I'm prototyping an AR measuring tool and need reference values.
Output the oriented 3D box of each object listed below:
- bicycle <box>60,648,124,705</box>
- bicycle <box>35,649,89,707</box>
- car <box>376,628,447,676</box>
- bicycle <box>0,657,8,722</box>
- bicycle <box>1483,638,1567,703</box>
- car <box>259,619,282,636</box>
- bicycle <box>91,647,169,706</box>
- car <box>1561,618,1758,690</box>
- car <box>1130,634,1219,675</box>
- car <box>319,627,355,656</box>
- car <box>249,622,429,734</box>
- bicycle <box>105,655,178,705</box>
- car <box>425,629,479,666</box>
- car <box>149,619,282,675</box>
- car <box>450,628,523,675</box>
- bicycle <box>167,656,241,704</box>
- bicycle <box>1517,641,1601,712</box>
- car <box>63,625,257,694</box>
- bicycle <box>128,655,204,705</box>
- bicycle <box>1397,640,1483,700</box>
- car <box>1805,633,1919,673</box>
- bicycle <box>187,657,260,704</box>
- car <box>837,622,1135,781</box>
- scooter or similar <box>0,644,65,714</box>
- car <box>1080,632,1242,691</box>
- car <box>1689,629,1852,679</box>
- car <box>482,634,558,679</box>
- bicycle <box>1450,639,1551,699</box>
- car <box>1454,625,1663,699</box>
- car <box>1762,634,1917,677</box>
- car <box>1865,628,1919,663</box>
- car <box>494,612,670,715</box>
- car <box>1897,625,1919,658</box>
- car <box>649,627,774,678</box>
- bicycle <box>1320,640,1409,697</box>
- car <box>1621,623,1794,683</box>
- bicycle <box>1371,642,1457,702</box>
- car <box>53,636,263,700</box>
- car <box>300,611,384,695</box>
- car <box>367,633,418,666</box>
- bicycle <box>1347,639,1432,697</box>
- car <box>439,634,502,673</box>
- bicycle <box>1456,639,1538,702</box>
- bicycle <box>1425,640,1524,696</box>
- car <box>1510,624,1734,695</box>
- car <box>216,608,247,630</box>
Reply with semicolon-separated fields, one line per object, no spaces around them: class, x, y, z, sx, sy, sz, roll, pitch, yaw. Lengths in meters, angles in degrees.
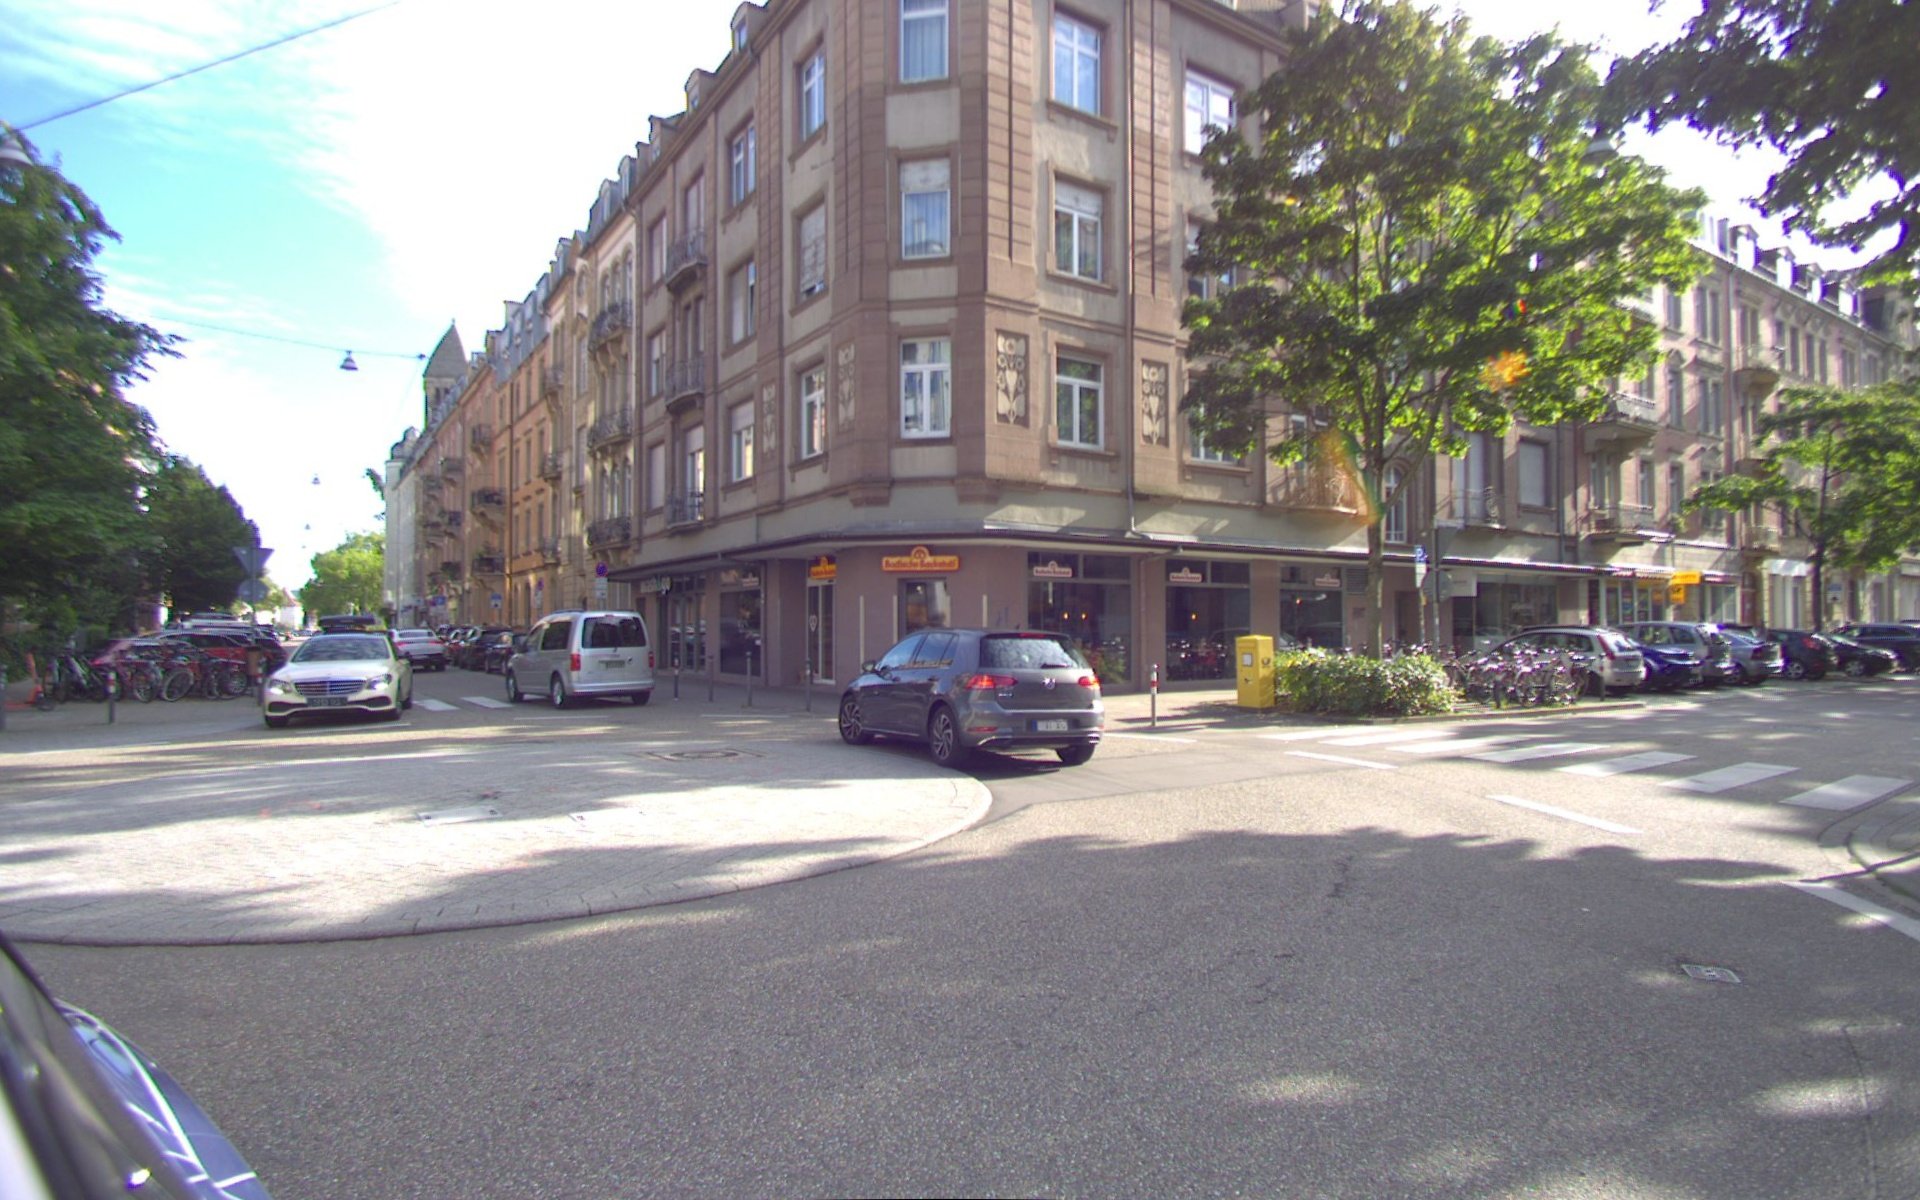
bicycle;-17.882;1.556;20.842;1.669;1.109;0.470;0;-4;32
bicycle;-18.122;1.553;20.411;1.672;1.109;0.429;-1;-4;36
car;-20.674;1.945;38.062;1.966;1.647;4.856;0;-2;-33
bicycle;-16.340;1.440;15.955;1.826;1.043;0.685;2;-3;-35
bicycle;10.686;1.296;19.099;2.254;1.166;0.480;1;-3;-37
car;-78.552;3.154;115.326;1.966;1.903;4.011;-1;-2;-32
bicycle;-17.324;1.586;21.117;1.828;1.152;0.471;0;-3;25
car;17.404;1.318;25.352;1.550;1.608;3.709;-1;-2;-33
car;9.103;2.275;42.922;3.572;1.578;1.583;-1;-2;-32
car;-44.099;2.919;71.565;1.913;1.894;4.848;-1;-2;-35
car;-10.655;1.250;17.726;1.911;1.609;4.852;-1;-1;-22
bicycle;-17.448;1.698;21.556;1.828;0.993;0.414;0;-3;25
car;-23.958;2.224;47.635;1.733;1.610;4.353;-1;-2;-34
car;-34.952;2.147;47.675;1.987;2.441;4.701;-2;-1;23
car;-17.822;1.868;37.990;1.831;1.596;4.410;-1;-1;-34
bicycle;-16.859;1.768;22.546;1.854;0.993;0.468;0;-3;25
bicycle;11.112;1.388;18.750;2.256;1.234;0.480;1;-3;-37
car;-20.461;1.541;26.024;1.509;1.628;3.547;-1;-4;33
bicycle;-17.253;1.723;21.982;1.854;0.993;0.468;0;-3;25
bicycle;9.658;1.379;20.314;2.392;1.143;0.480;1;-3;-37
car;30.141;1.737;33.286;1.353;1.263;3.348;3;-3;-33
bicycle;-16.724;1.804;22.975;1.854;0.993;0.468;0;-3;25
car;0.082;1.013;11.431;1.766;1.449;4.013;2;-3;-25
scooter or similar;-16.781;1.395;17.901;1.273;1.220;0.557;1;-4;-6
car;5.368;1.623;27.354;1.740;1.441;4.004;0;-2;-43
car;23.065;1.529;28.906;1.353;1.342;3.348;3;-3;-33
car;-14.767;1.863;33.853;1.696;1.379;3.839;-1;-2;-34
bicycle;11.071;1.392;20.682;2.471;1.110;0.652;0;-3;-33
car;13.324;1.340;22.737;1.550;1.488;3.709;-1;-2;-33
car;27.071;1.705;31.237;1.353;1.263;3.348;3;-3;-33
car;37.065;1.758;38.713;1.383;1.326;3.348;3;-3;-33
car;-7.559;1.200;20.005;1.807;1.804;4.336;2;-3;-42
car;39.781;1.669;40.311;1.383;1.326;3.348;3;-3;-33
car;-9.018;1.879;36.866;3.939;1.633;2.002;0;-2;-43
bicycle;8.649;1.443;21.608;2.392;1.143;0.581;1;-2;-37
car;19.382;1.377;26.355;1.353;1.454;3.348;3;-3;-33
bicycle;9.311;1.439;20.709;2.392;1.143;0.480;1;-2;-37
car;-18.923;1.619;24.027;1.508;1.391;3.550;-1;-4;30
car;-16.601;1.390;27.252;1.763;2.079;4.012;1;-2;-31
car;-26.932;2.343;47.982;1.741;1.392;4.463;-3;-1;-34
bicycle;8.992;1.396;21.146;2.392;1.143;0.480;1;-3;-37
car;-20.431;2.199;42.160;1.734;1.508;4.143;-1;-2;-35
bicycle;10.377;1.336;19.525;2.226;1.143;0.480;1;-3;-37
bicycle;10.750;1.394;21.109;2.471;1.110;0.710;2;-4;-34
car;15.428;1.355;23.796;1.550;1.488;4.085;-1;-2;-33
car;-60.771;1.580;84.388;1.821;1.747;4.007;0;-2;-39
